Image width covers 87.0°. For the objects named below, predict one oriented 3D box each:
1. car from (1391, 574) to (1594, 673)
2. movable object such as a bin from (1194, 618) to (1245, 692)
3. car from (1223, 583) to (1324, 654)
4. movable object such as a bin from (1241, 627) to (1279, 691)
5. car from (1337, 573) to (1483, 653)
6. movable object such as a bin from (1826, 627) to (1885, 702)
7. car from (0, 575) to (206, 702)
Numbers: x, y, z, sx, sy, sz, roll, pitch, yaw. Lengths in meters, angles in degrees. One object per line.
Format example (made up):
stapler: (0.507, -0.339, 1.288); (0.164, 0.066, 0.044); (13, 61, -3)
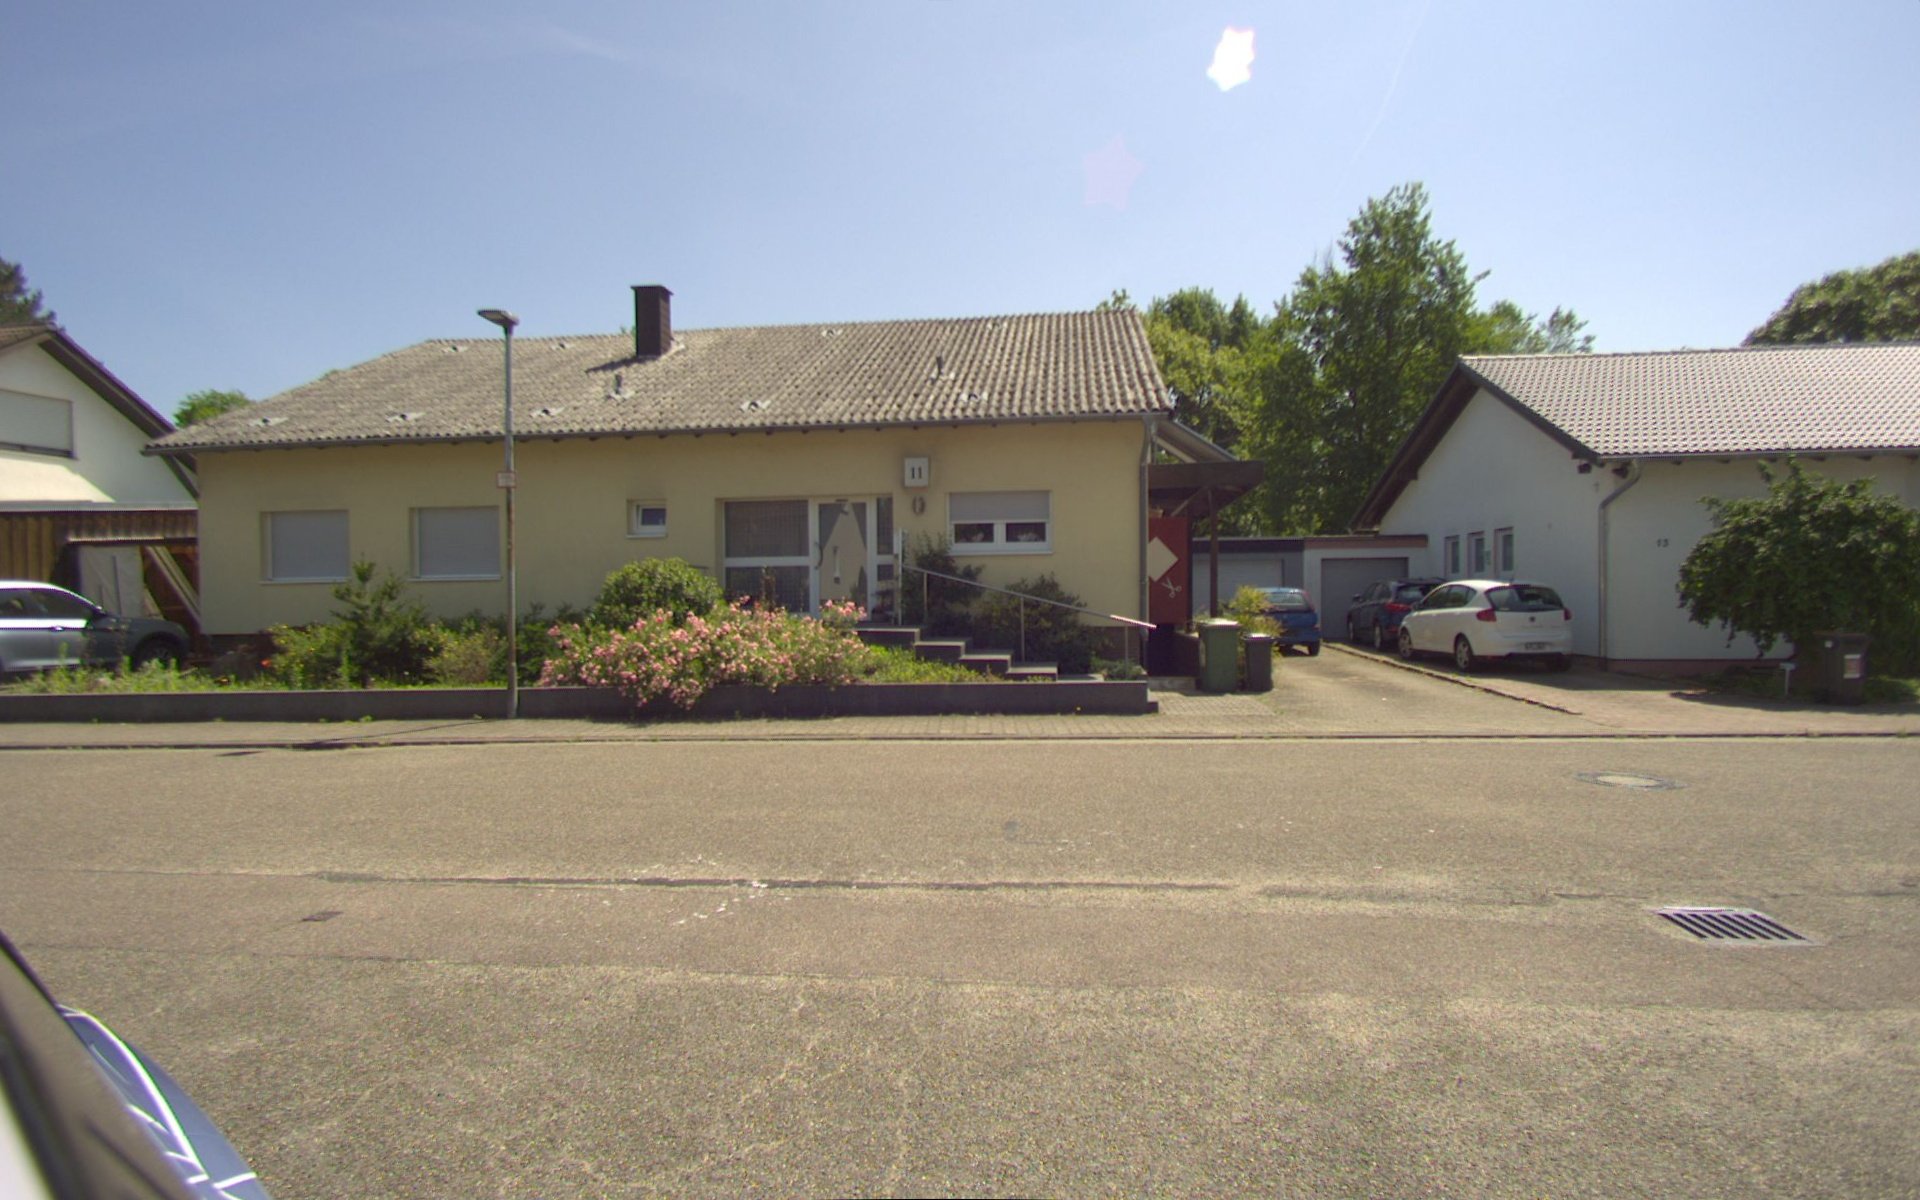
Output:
car: (9.492, 0.359, 18.431); (1.729, 1.580, 3.996); (-1, 1, 3)
movable object such as a bin: (3.832, 0.802, 14.973); (0.584, 1.049, 0.492); (-1, 0, -1)
car: (7.081, 0.374, 23.105); (1.600, 1.466, 3.248); (0, 2, 6)
movable object such as a bin: (4.413, 0.864, 14.899); (0.402, 0.898, 0.426); (-1, 0, -1)
car: (10.142, 0.239, 23.129); (1.906, 1.620, 3.992); (-1, 1, 7)
movable object such as a bin: (11.017, 0.788, 12.457); (0.370, 0.898, 0.390); (-1, 0, 6)
car: (-14.006, 0.528, 15.009); (1.690, 1.715, 4.630); (-1, 2, 9)
